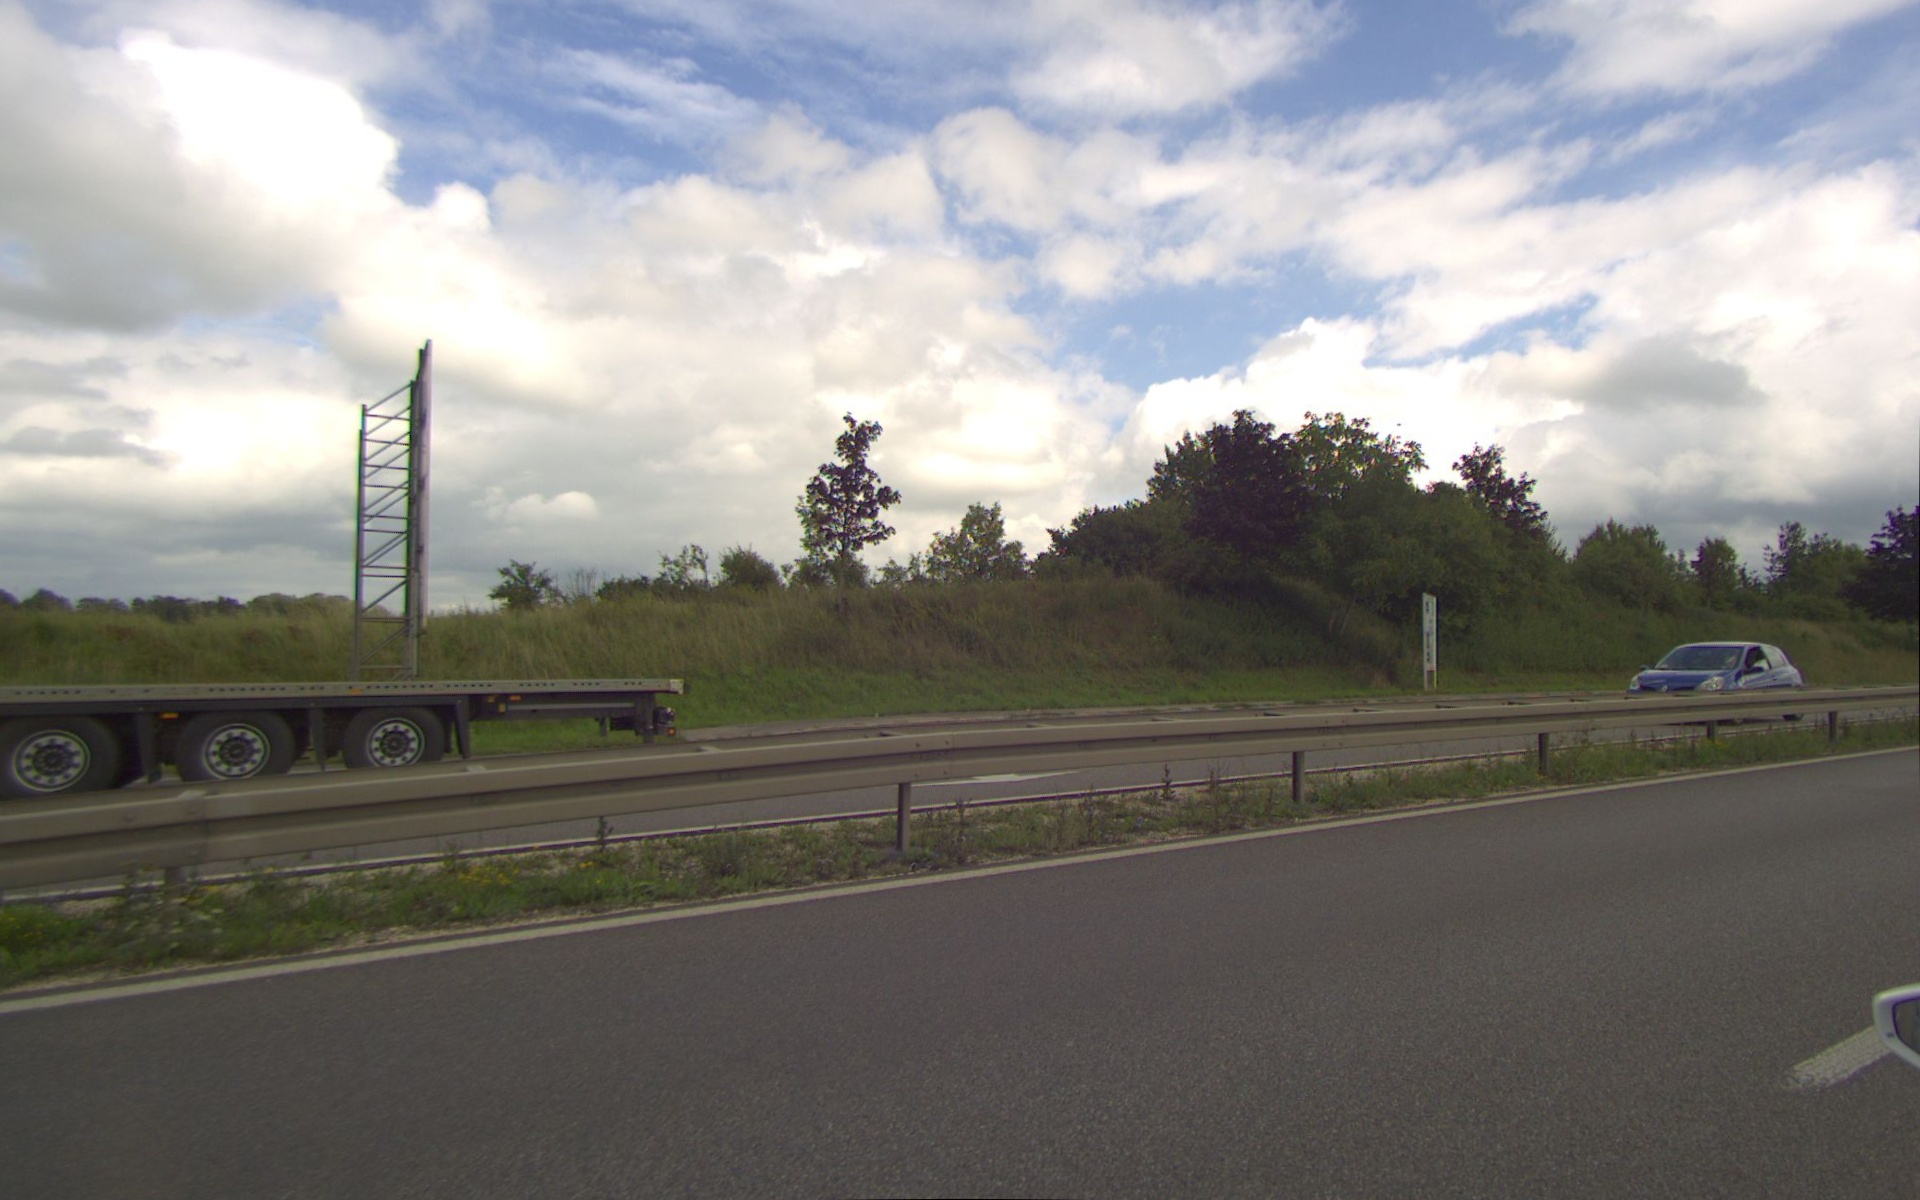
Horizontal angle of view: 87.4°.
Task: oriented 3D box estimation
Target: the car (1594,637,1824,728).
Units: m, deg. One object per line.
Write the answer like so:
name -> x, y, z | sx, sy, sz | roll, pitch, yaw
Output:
car -> 14.309, 1.482, 19.158 | 4.144, 1.539, 2.076 | 1, -2, -31

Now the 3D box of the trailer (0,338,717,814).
trailer -> -8.990, -0.172, 9.481 | 12.840, 3.999, 2.761 | 1, -2, -32
